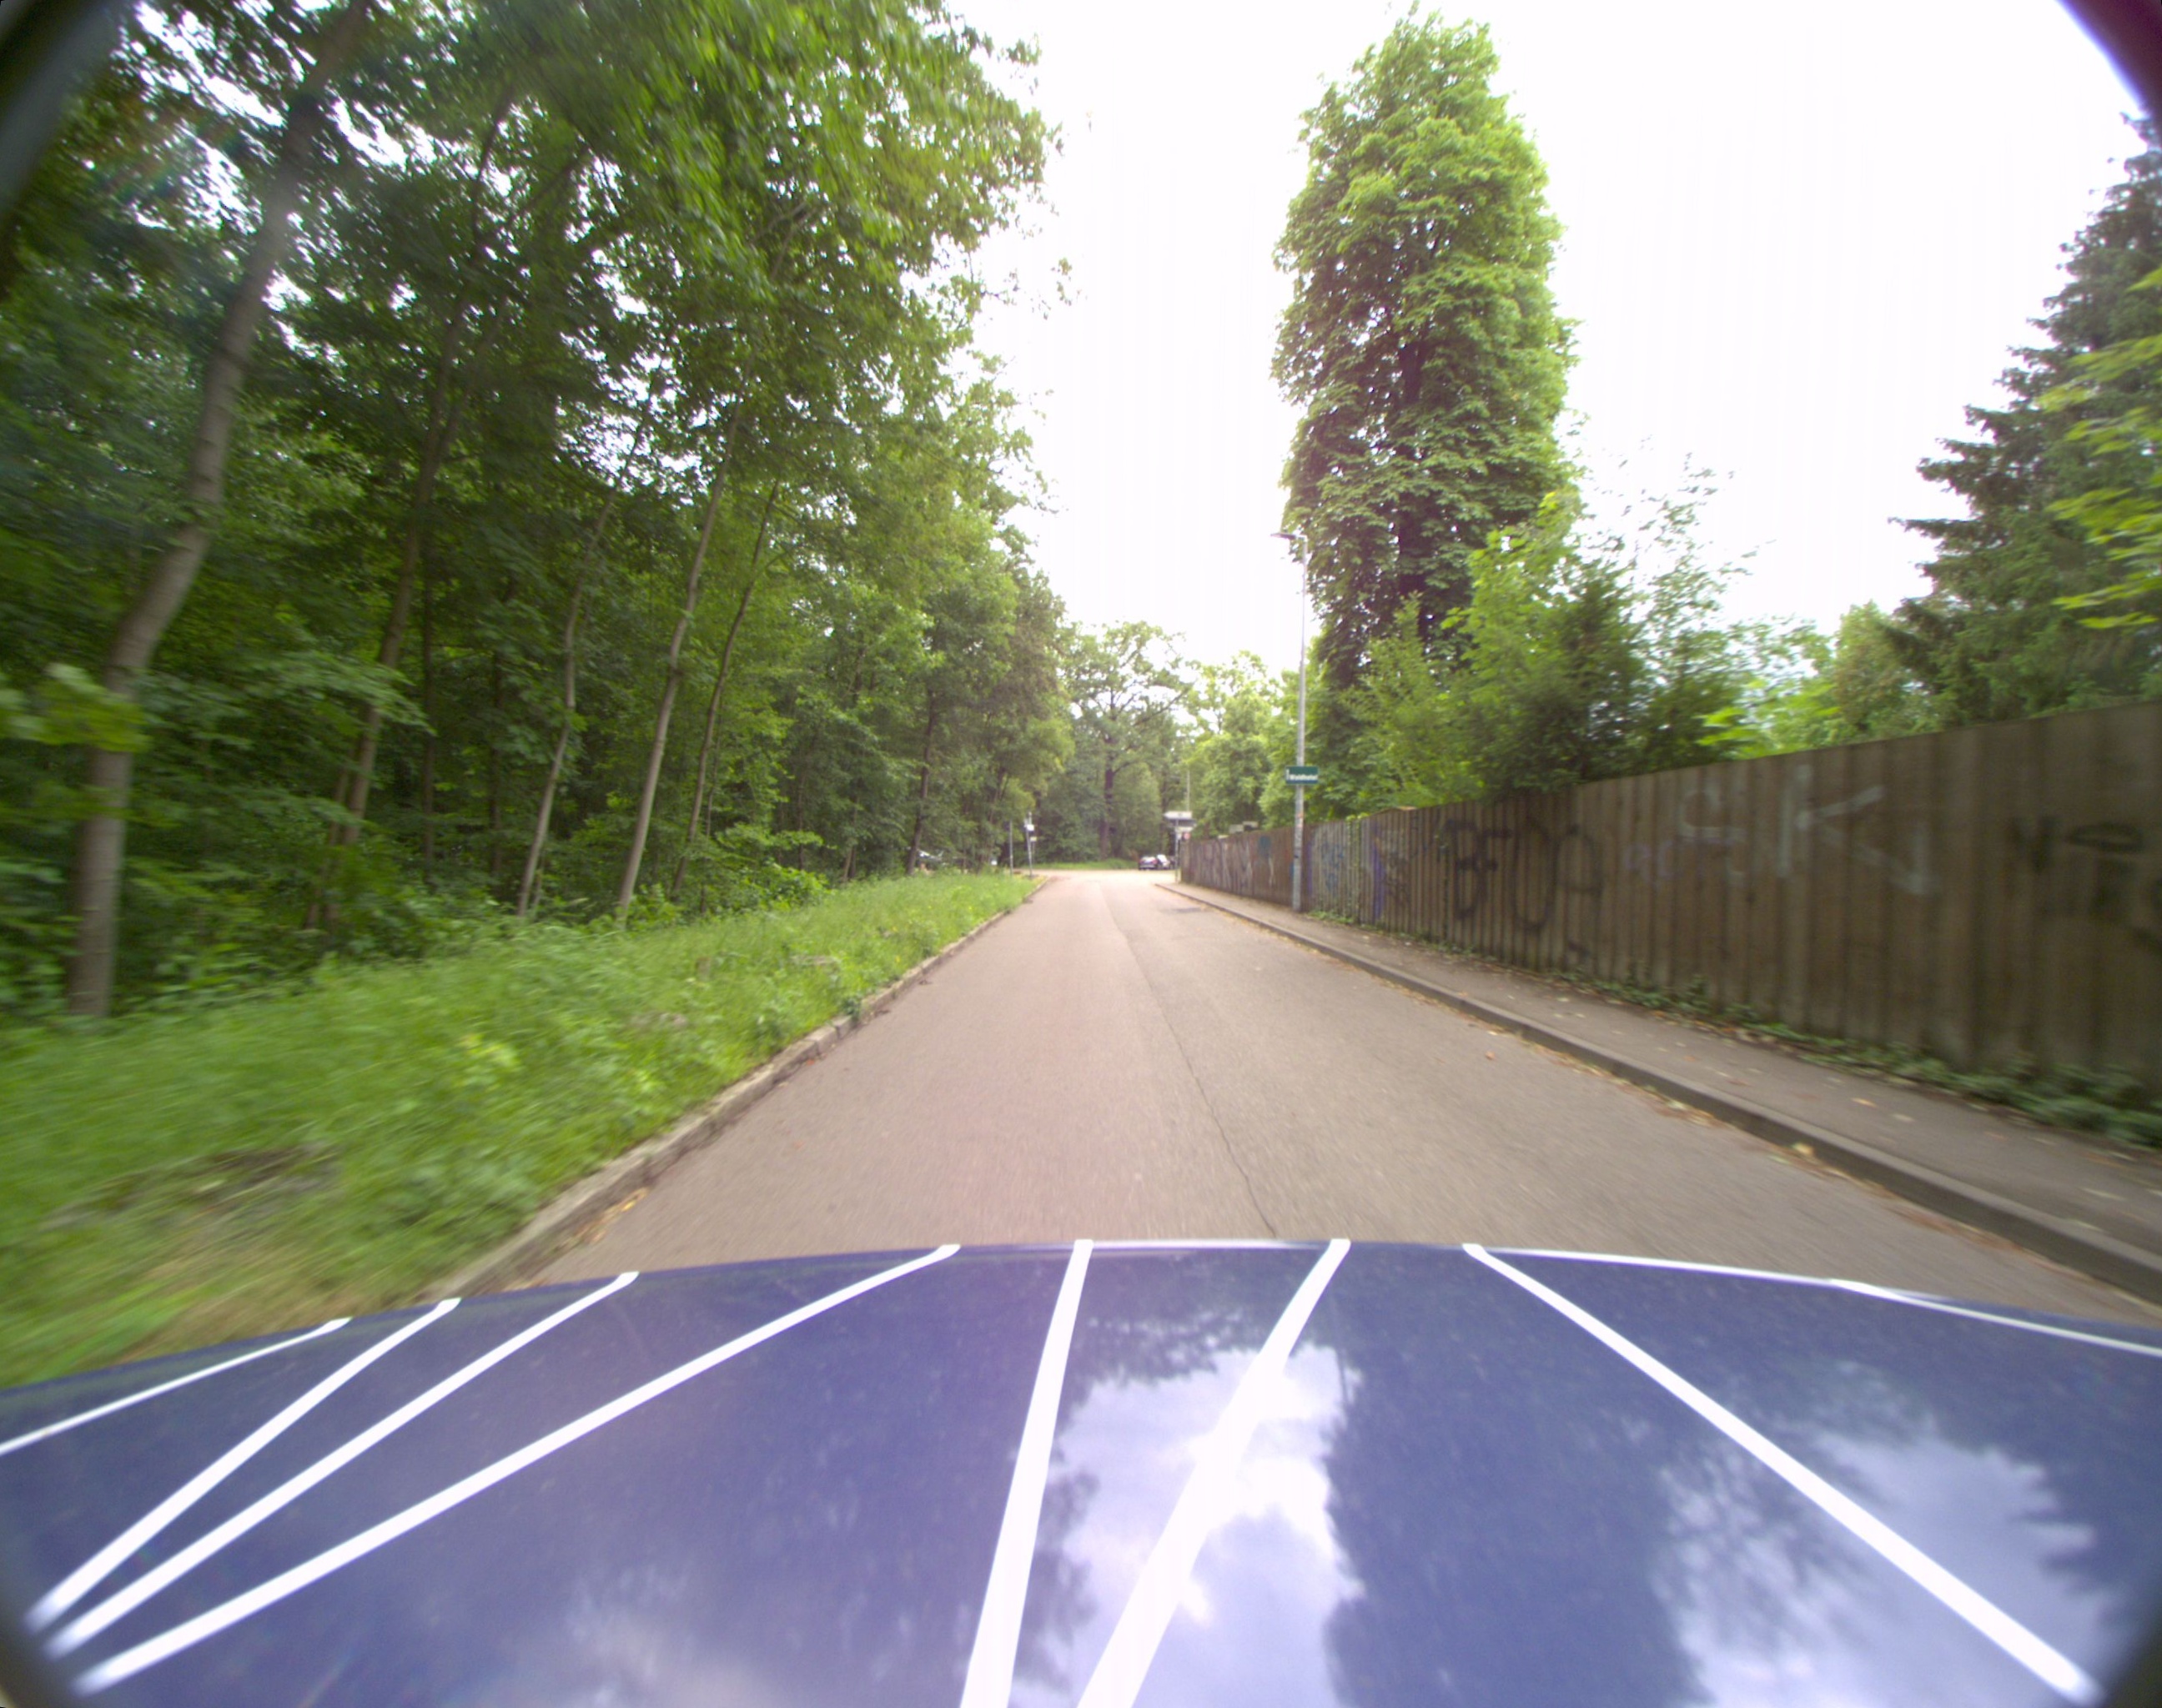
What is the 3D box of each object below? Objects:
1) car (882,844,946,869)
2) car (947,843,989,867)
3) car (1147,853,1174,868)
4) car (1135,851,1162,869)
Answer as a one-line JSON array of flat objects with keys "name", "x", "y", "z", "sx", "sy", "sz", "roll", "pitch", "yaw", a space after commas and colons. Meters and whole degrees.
[{"name": "car", "x": -11.926, "y": 0.171, "z": 54.315, "sx": 4.092, "sy": 1.624, "sz": 1.816, "roll": 1, "pitch": 2, "yaw": 11}, {"name": "car", "x": -9.338, "y": 0.077, "z": 63.165, "sx": 1.887, "sy": 1.966, "sz": 4.522, "roll": 1, "pitch": 0, "yaw": 13}, {"name": "car", "x": 7.506, "y": 0.644, "z": 71.310, "sx": 1.996, "sy": 1.411, "sz": 4.005, "roll": 0, "pitch": -1, "yaw": 13}, {"name": "car", "x": 5.920, "y": 0.491, "z": 66.588, "sx": 1.769, "sy": 1.486, "sz": 4.331, "roll": 1, "pitch": 0, "yaw": 13}]
